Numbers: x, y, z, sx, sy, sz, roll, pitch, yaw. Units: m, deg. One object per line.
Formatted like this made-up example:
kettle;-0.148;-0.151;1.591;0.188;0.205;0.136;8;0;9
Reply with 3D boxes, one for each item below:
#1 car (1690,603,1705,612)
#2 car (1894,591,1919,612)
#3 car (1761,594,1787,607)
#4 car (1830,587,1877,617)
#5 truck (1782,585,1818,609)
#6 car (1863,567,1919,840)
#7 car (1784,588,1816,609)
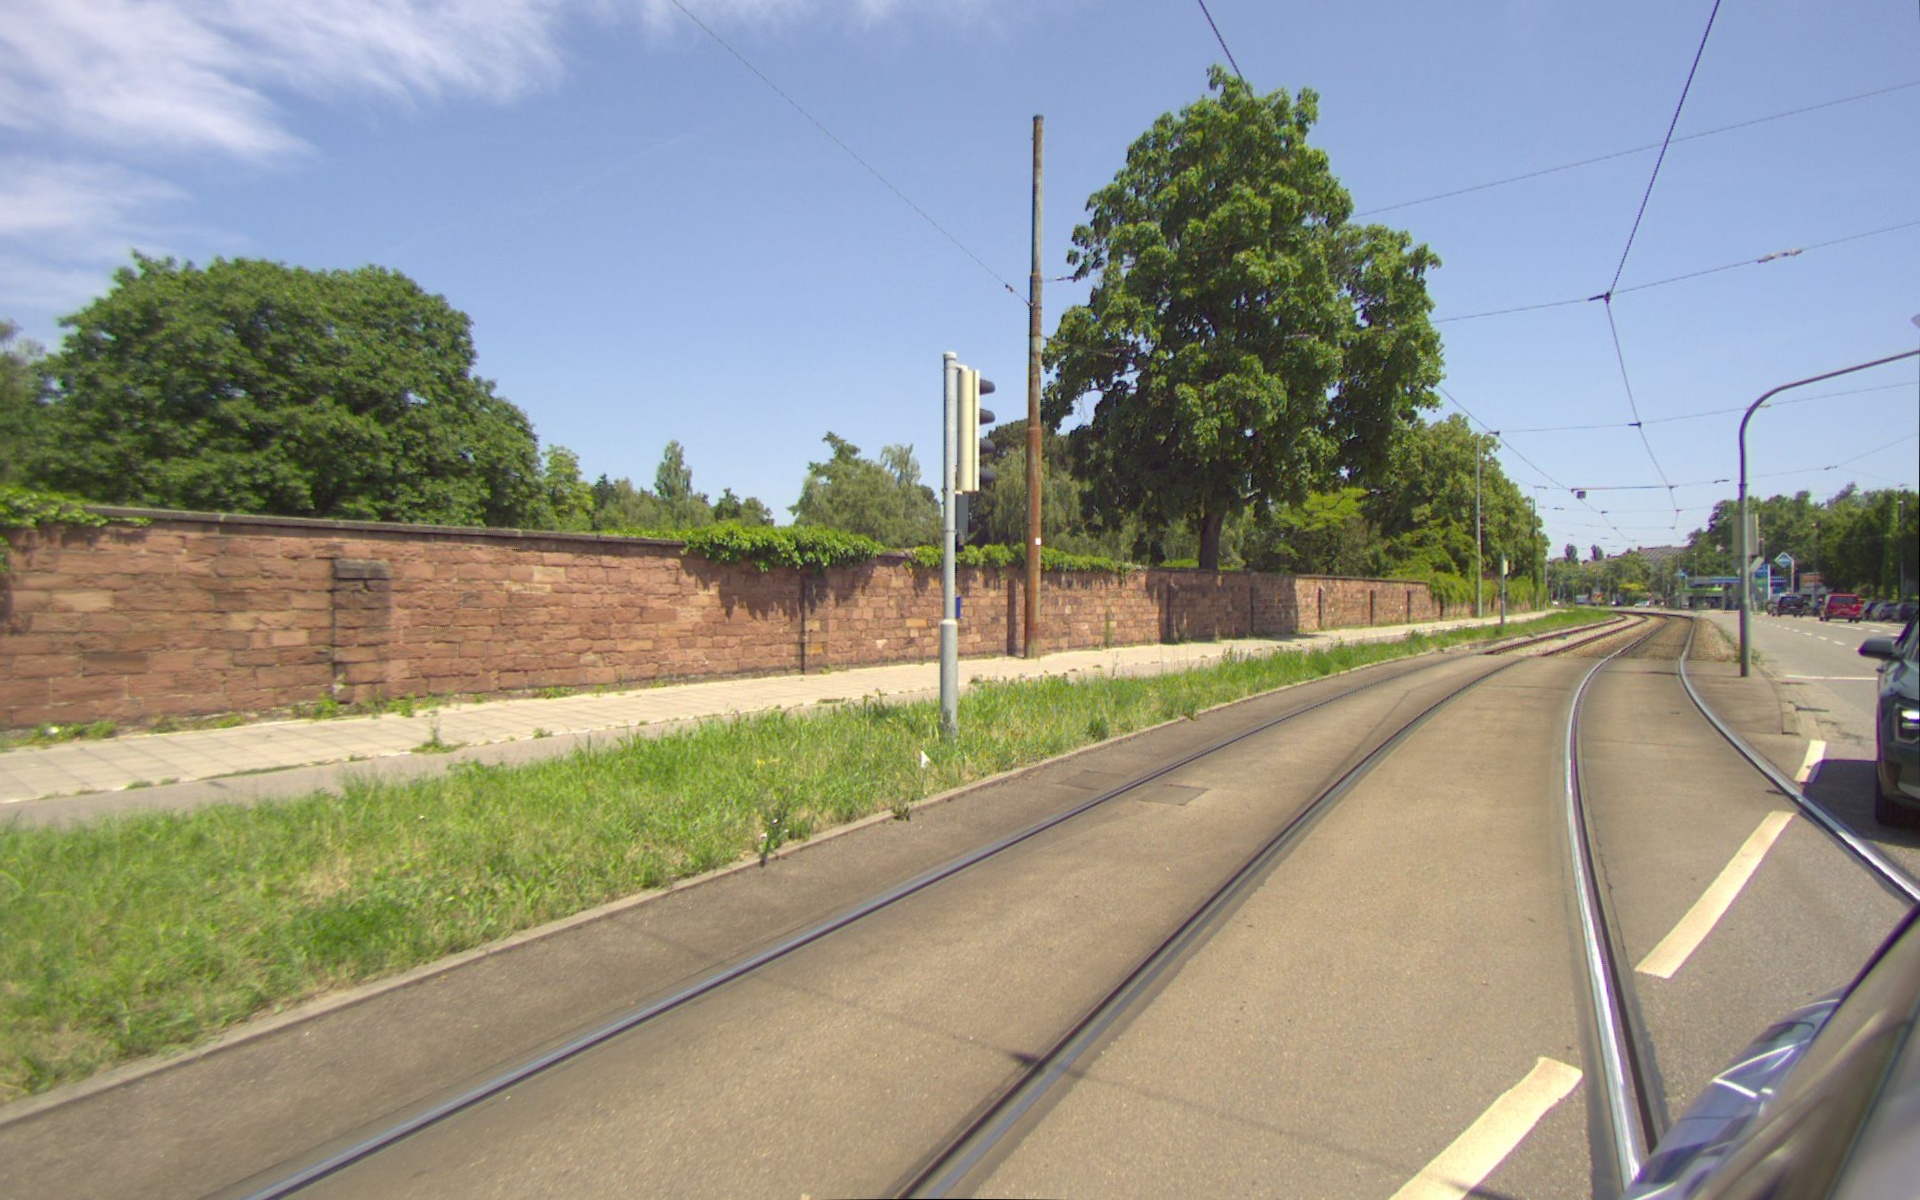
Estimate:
car;131.183;1.354;180.031;1.853;1.515;3.427;-4;-2;35
car;73.297;0.066;77.750;1.646;1.515;4.031;-4;-2;35
car;103.513;0.056;128.746;1.848;1.515;3.437;-4;-2;27
car;63.078;0.111;71.526;1.893;1.950;4.759;2;1;35
truck;98.350;-0.326;118.518;2.115;2.614;4.817;-4;-2;27
car;7.686;0.583;6.902;4.350;1.603;1.757;0;-1;-41
car;77.227;-0.146;93.110;1.913;1.934;4.511;2;1;36
